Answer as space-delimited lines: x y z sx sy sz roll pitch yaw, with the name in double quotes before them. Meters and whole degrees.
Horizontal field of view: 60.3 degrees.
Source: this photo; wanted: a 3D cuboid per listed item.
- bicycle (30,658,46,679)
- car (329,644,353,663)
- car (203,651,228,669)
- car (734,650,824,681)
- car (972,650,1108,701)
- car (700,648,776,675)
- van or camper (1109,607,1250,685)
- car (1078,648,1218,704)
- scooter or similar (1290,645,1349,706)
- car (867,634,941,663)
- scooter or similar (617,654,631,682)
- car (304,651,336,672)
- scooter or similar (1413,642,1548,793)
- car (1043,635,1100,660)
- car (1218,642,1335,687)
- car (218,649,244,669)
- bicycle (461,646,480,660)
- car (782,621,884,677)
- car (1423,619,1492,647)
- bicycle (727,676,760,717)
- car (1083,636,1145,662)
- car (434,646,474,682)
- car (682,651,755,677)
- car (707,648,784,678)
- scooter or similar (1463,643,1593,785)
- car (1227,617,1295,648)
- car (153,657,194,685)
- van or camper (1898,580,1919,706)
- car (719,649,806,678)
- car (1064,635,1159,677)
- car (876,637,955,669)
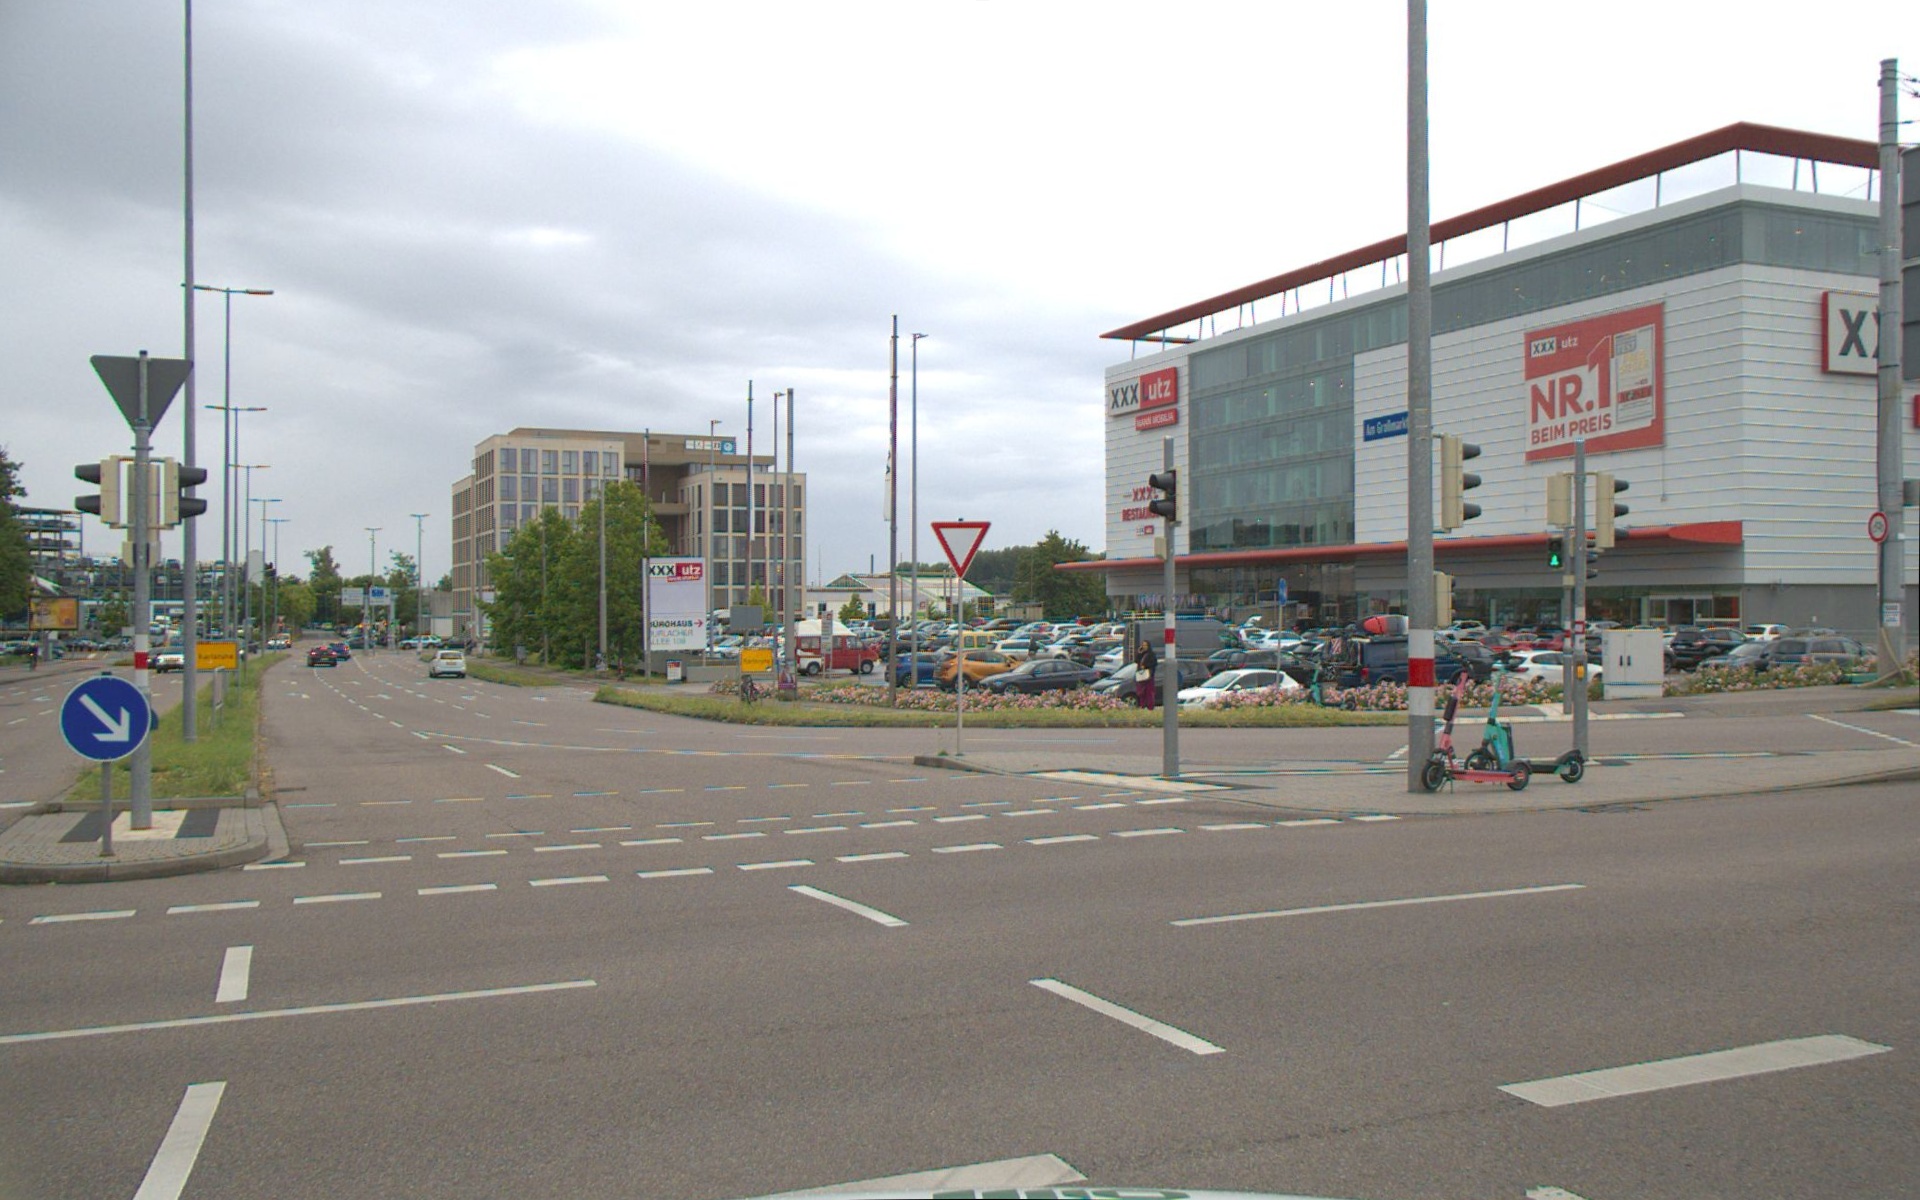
"bicycle" -59.865 4.452 107.426 0.634 1.273 2.041 2 -2 -23
"car" -53.303 4.608 142.402 1.809 1.541 3.973 3 -2 -22
"car" -65.986 5.292 146.584 1.841 1.480 4.139 -2 -1 -23
"car" -9.423 3.395 86.016 4.312 1.486 1.948 0 1 -22
"car" 2.811 2.636 58.316 4.456 1.611 1.760 0 1 -19
"car" -12.698 3.502 94.593 4.001 1.374 1.821 0 1 -24
"van or camper" 8.850 1.838 66.787 5.290 3.036 1.983 0 -2 -15
"car" 5.851 2.338 51.532 4.036 1.611 1.757 0 0 -23
"scooter or similar" 7.527 1.586 34.608 1.139 1.255 0.345 -2 -3 29
"car" -3.351 2.891 99.129 4.111 1.693 1.822 0 -1 -21
"scooter or similar" -17.593 3.560 86.496 0.639 1.446 1.812 -1 -2 -14
"car" -45.129 4.355 116.513 1.961 1.453 4.210 0 -2 -23
"scooter or similar" 4.649 1.041 14.803 0.996 1.278 0.463 -2 -3 -10
"car" 7.528 3.208 111.662 3.514 1.615 1.730 0 -2 -19
"car" 11.915 2.419 62.338 3.924 1.583 1.938 0 -2 -18
"car" -58.824 4.752 133.513 1.905 1.512 4.406 -2 -1 -24
"bicycle" -48.814 5.266 164.857 1.968 1.318 0.700 0 -1 32
"car" -6.282 2.375 81.757 4.656 2.624 2.156 0 1 -22
"car" 29.888 1.953 99.357 3.742 1.581 1.817 0 1 -24
"bicycle" -5.878 2.615 44.828 0.652 1.067 1.683 1 -2 -16
"car" 9.726 3.089 104.566 3.514 1.615 1.730 0 -2 -19
"car" -28.880 3.613 94.313 1.965 1.782 4.155 0 1 -21
"car" -14.240 3.759 97.567 4.001 1.374 1.751 0 1 -24
"car" -11.971 3.517 92.452 3.997 1.567 1.752 0 1 -22
"scooter or similar" 5.365 1.073 15.627 1.091 1.278 0.320 -2 -3 -10
"car" 19.018 2.034 104.515 3.937 1.854 1.788 0 1 -26
"car" -46.810 4.214 98.508 1.904 1.545 4.153 -3 -1 -22
"van or camper" 18.013 0.578 26.608 4.648 2.049 2.120 -2 -3 -7
"car" -10.734 3.442 89.743 4.402 1.444 1.855 0 1 -22
"car" 6.791 2.488 74.200 3.841 1.683 1.817 -2 0 -25
"car" -2.620 3.097 96.486 4.249 1.774 1.878 0 0 -21
